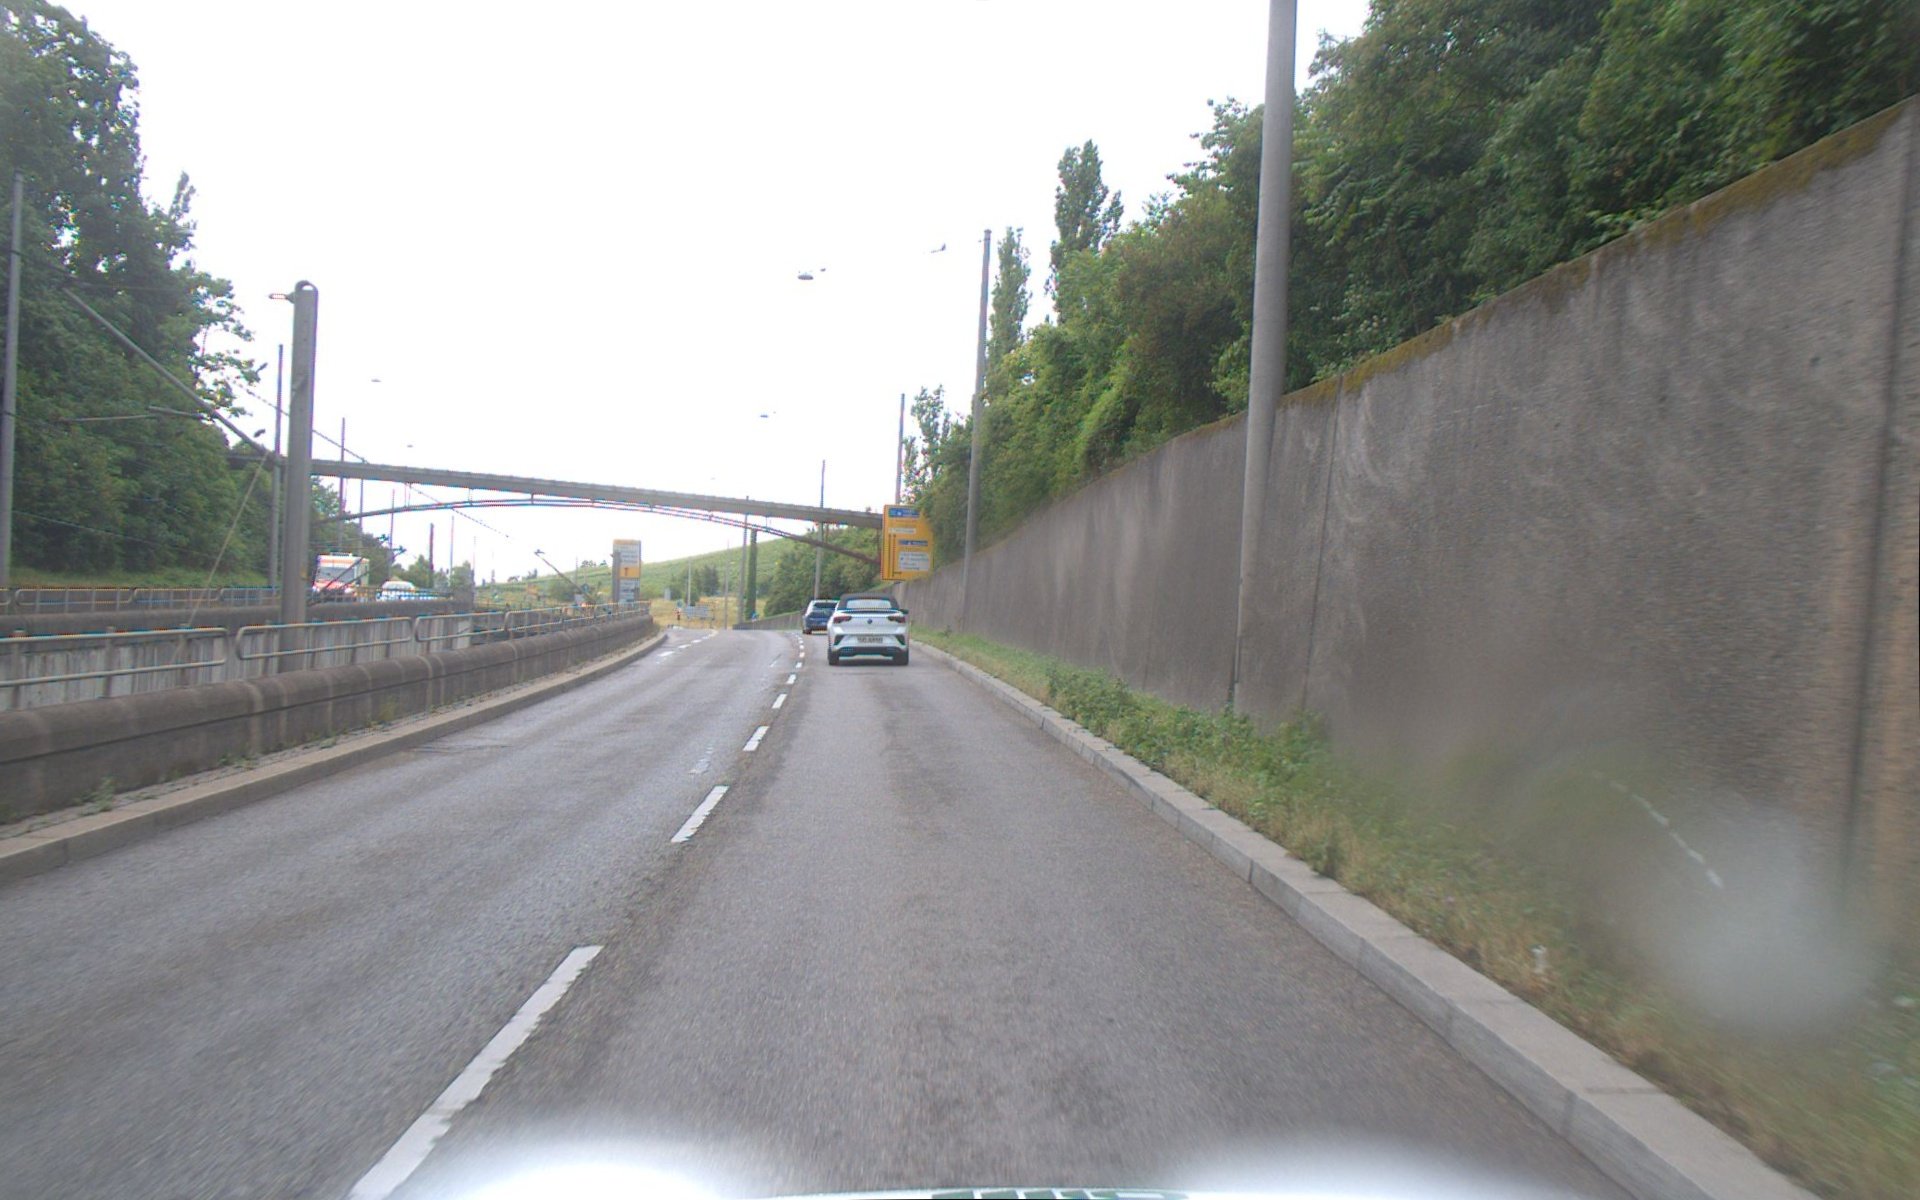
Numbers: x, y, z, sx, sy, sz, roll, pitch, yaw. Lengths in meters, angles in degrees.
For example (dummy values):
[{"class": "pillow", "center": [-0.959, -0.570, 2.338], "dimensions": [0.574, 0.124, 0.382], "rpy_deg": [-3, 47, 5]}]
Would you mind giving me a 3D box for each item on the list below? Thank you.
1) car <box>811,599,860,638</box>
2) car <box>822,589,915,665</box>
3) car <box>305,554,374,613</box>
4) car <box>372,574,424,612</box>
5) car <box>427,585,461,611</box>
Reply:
[{"class": "car", "center": [-5.326, 0.762, 71.140], "dimensions": [1.887, 1.627, 4.060], "rpy_deg": [0, 0, -2]}, {"class": "car", "center": [-2.082, 0.571, 37.114], "dimensions": [1.956, 1.606, 4.122], "rpy_deg": [0, 0, -4]}, {"class": "car", "center": [-30.517, -0.777, 81.512], "dimensions": [2.143, 2.782, 6.327], "rpy_deg": [0, 0, -11]}, {"class": "car", "center": [-26.333, -0.331, 77.579], "dimensions": [1.785, 1.734, 4.099], "rpy_deg": [0, 0, -11]}, {"class": "car", "center": [-35.662, -0.124, 114.417], "dimensions": [1.927, 1.780, 4.127], "rpy_deg": [0, 0, -13]}]
